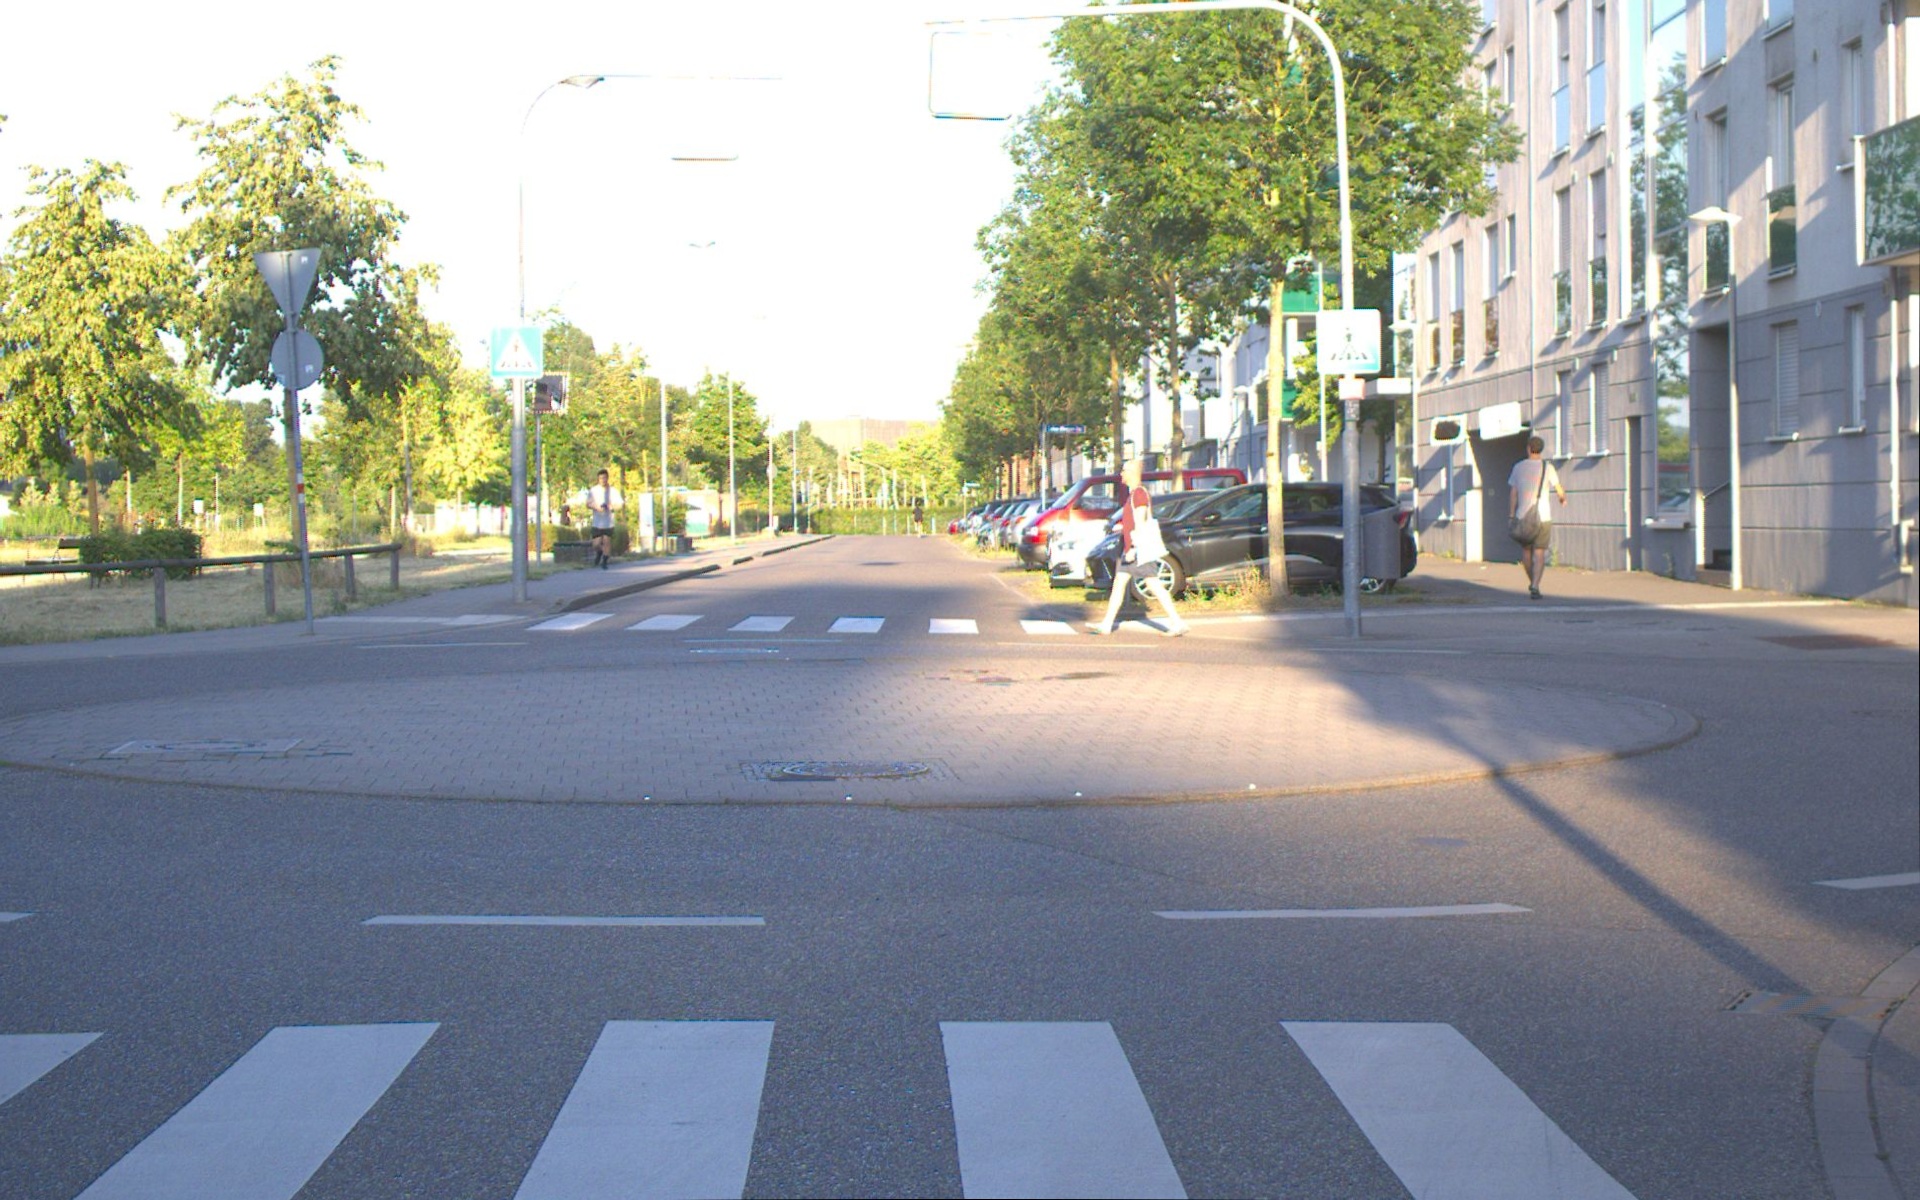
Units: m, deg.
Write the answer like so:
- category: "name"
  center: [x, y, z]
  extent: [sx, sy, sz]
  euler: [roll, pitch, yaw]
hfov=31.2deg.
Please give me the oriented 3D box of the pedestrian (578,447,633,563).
- category: "pedestrian"
  center: [-6.161, -1.653, 59.739]
  extent: [0.866, 2.007, 0.790]
  euler: [-1, 1, -11]

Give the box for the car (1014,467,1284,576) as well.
- category: "car"
  center: [3.667, -1.546, 67.390]
  extent: [5.002, 2.038, 2.251]
  euler: [-1, 2, -5]

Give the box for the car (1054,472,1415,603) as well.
- category: "car"
  center: [3.482, -0.814, 44.216]
  extent: [4.484, 1.590, 2.000]
  euler: [-1, 2, 1]

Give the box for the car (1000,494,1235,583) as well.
- category: "car"
  center: [2.914, -1.154, 64.313]
  extent: [4.263, 1.590, 2.000]
  euler: [-1, 2, -1]

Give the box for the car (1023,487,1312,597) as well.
- category: "car"
  center: [3.099, -0.894, 52.100]
  extent: [4.263, 1.590, 2.000]
  euler: [-1, 2, 1]

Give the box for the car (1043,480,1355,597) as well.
- category: "car"
  center: [3.387, -0.894, 49.367]
  extent: [4.355, 1.590, 2.000]
  euler: [-1, 2, 1]

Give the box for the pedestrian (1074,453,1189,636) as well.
- category: "pedestrian"
  center: [1.694, -0.547, 34.063]
  extent: [1.003, 1.781, 0.762]
  euler: [1, 1, -7]

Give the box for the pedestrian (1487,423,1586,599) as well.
- category: "pedestrian"
  center: [6.678, -1.035, 39.841]
  extent: [0.940, 2.007, 0.849]
  euler: [-1, 1, -5]
